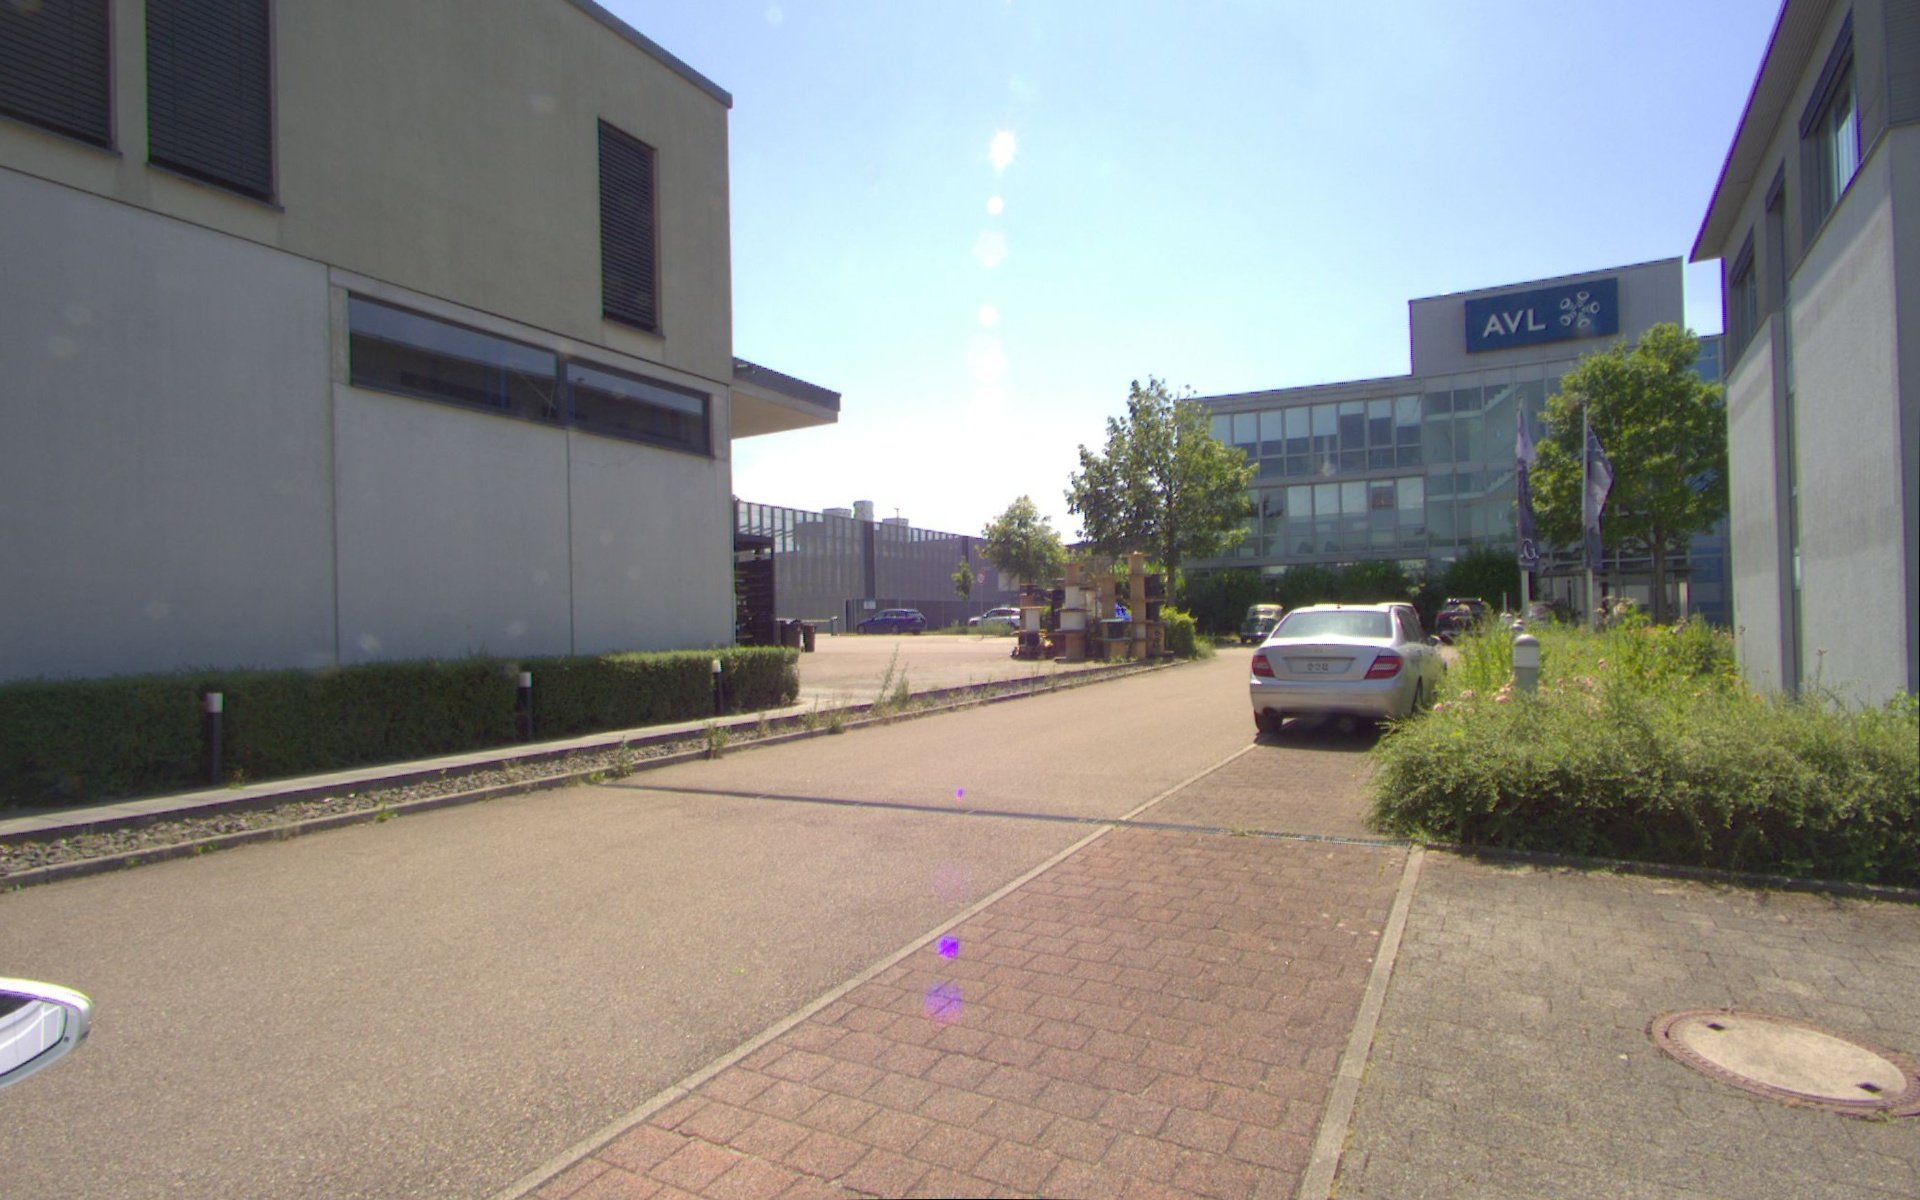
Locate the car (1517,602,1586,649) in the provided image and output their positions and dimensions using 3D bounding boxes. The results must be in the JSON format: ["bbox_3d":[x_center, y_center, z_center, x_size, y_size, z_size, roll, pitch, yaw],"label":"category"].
[{"bbox_3d":[20.398,0.849,34.657,1.748,1.501,4.242,-1,0,27],"label":"car"}]

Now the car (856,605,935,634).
[{"bbox_3d":[-3.688,1.089,56.648,4.465,1.511,1.982,-1,1,43],"label":"car"}]

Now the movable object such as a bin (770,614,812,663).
[{"bbox_3d":[-4.852,1.097,28.831,0.802,1.362,0.879,-1,0,34],"label":"movable object such as a bin"}]

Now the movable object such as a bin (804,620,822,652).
[{"bbox_3d":[-4.970,1.203,33.797,0.567,1.050,0.425,-1,0,-5],"label":"movable object such as a bin"}]

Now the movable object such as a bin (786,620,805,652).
[{"bbox_3d":[-5.554,1.207,33.756,0.570,1.041,0.425,-1,0,-5],"label":"movable object such as a bin"}]

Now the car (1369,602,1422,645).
[{"bbox_3d":[16.190,0.837,37.355,1.741,1.468,3.643,0,0,23],"label":"car"}]

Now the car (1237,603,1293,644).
[{"bbox_3d":[11.812,0.876,38.638,1.522,1.468,3.640,0,0,26],"label":"car"}]

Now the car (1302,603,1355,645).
[{"bbox_3d":[13.882,0.858,37.627,1.708,1.468,3.643,0,0,23],"label":"car"}]

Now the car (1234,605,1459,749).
[{"bbox_3d":[4.849,0.800,12.151,1.779,1.416,4.397,-1,-1,32],"label":"car"}]

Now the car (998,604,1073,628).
[{"bbox_3d":[4.946,1.044,66.208,4.801,1.511,1.982,-1,0,43],"label":"car"}]

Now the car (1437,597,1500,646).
[{"bbox_3d":[18.092,0.724,35.667,1.903,1.632,3.970,0,0,27],"label":"car"}]

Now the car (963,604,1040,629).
[{"bbox_3d":[2.640,1.072,64.215,4.801,1.511,1.982,-1,0,43],"label":"car"}]
